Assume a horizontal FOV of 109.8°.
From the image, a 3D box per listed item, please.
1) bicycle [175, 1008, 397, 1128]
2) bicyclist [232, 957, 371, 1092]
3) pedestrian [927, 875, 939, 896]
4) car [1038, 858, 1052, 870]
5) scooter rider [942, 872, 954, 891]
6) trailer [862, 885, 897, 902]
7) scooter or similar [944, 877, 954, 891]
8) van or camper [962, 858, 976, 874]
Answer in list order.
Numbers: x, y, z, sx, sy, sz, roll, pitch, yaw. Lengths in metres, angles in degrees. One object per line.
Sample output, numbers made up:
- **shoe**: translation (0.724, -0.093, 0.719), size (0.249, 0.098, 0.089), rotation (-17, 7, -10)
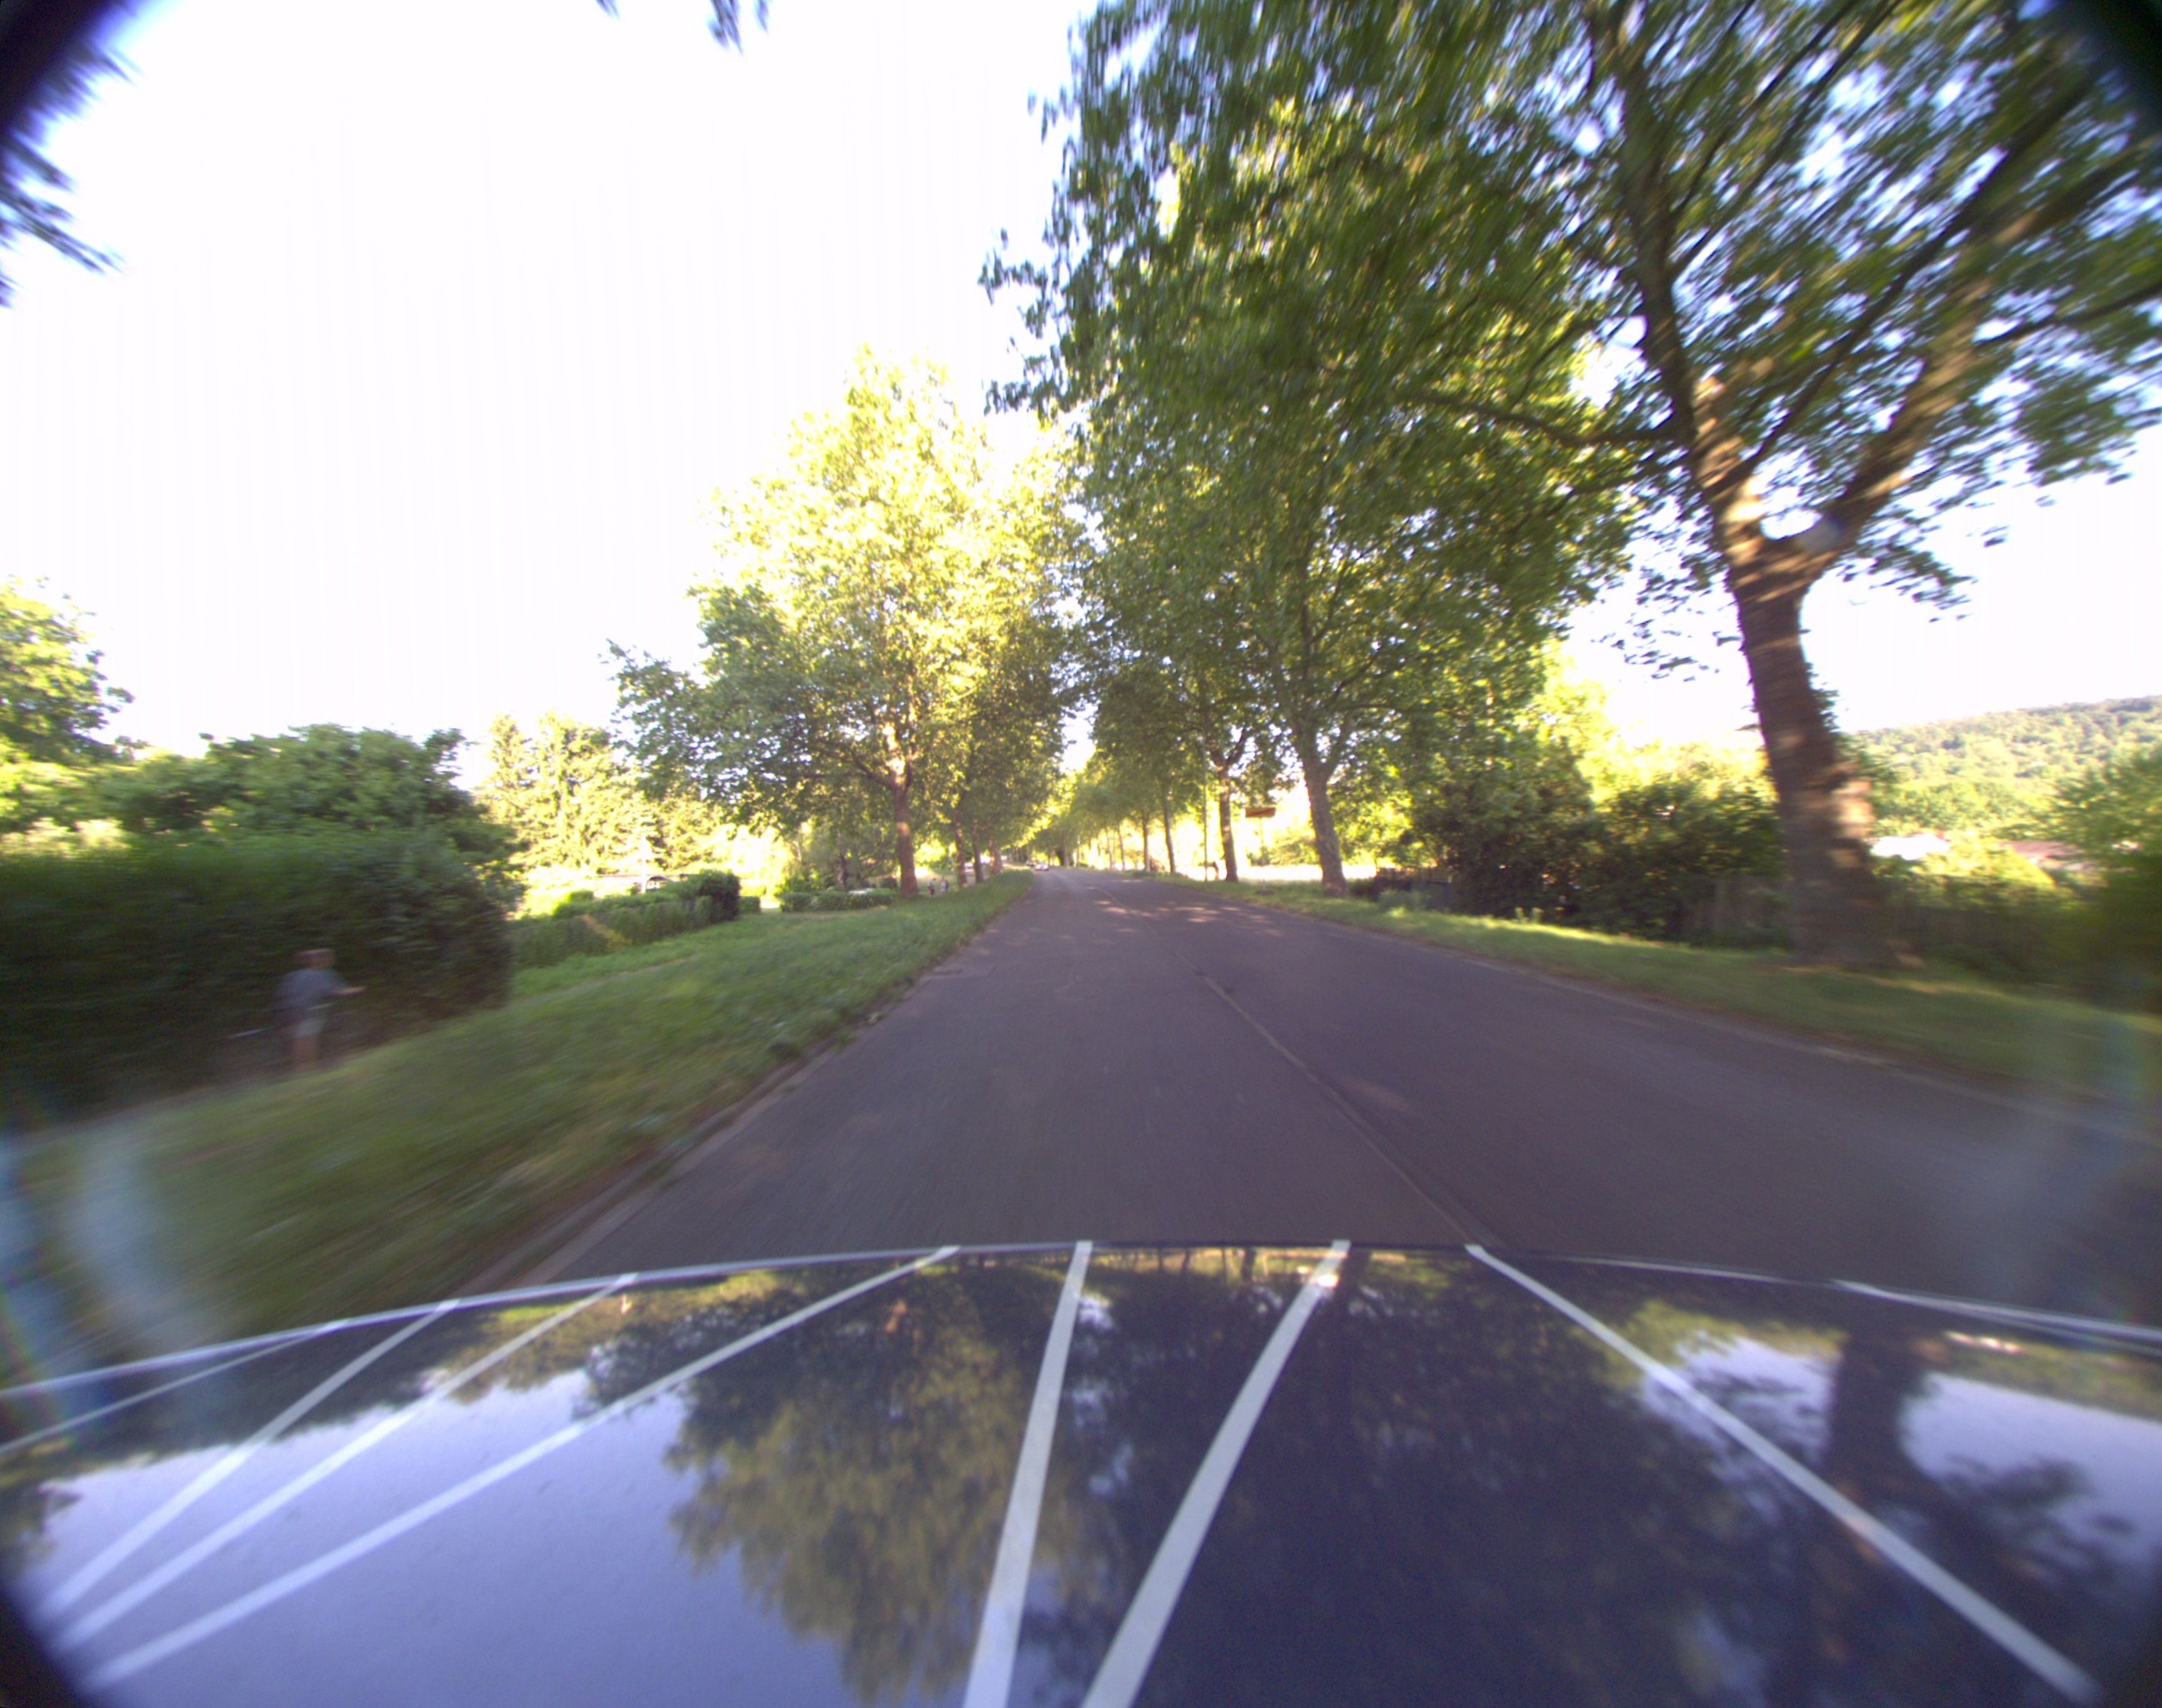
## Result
- **bicycle**: translation (-9.013, 2.387, 8.746), size (0.554, 0.812, 1.888), rotation (-3, 1, -1)
- **bicyclist**: translation (-9.023, 1.943, 8.829), size (0.736, 1.358, 0.770), rotation (-3, 1, -2)
- **pedestrian**: translation (-11.885, 2.523, 61.116), size (0.845, 1.567, 0.783), rotation (-3, 1, -16)
- **car**: translation (-5.259, 1.442, 111.003), size (1.999, 1.655, 3.998), rotation (-3, 0, -3)
- **scooter rider**: translation (-11.455, 2.370, 65.466), size (0.784, 1.567, 0.845), rotation (-3, 1, 3)
- **trailer**: translation (-14.542, 2.861, 54.926), size (2.123, 1.046, 1.200), rotation (-3, 1, 1)
- **scooter or similar**: translation (-11.415, 2.615, 65.694), size (0.340, 1.128, 1.600), rotation (-3, 1, 7)
- **van or camper**: translation (-21.536, 2.284, 145.954), size (2.388, 2.783, 5.681), rotation (-3, 1, -7)
